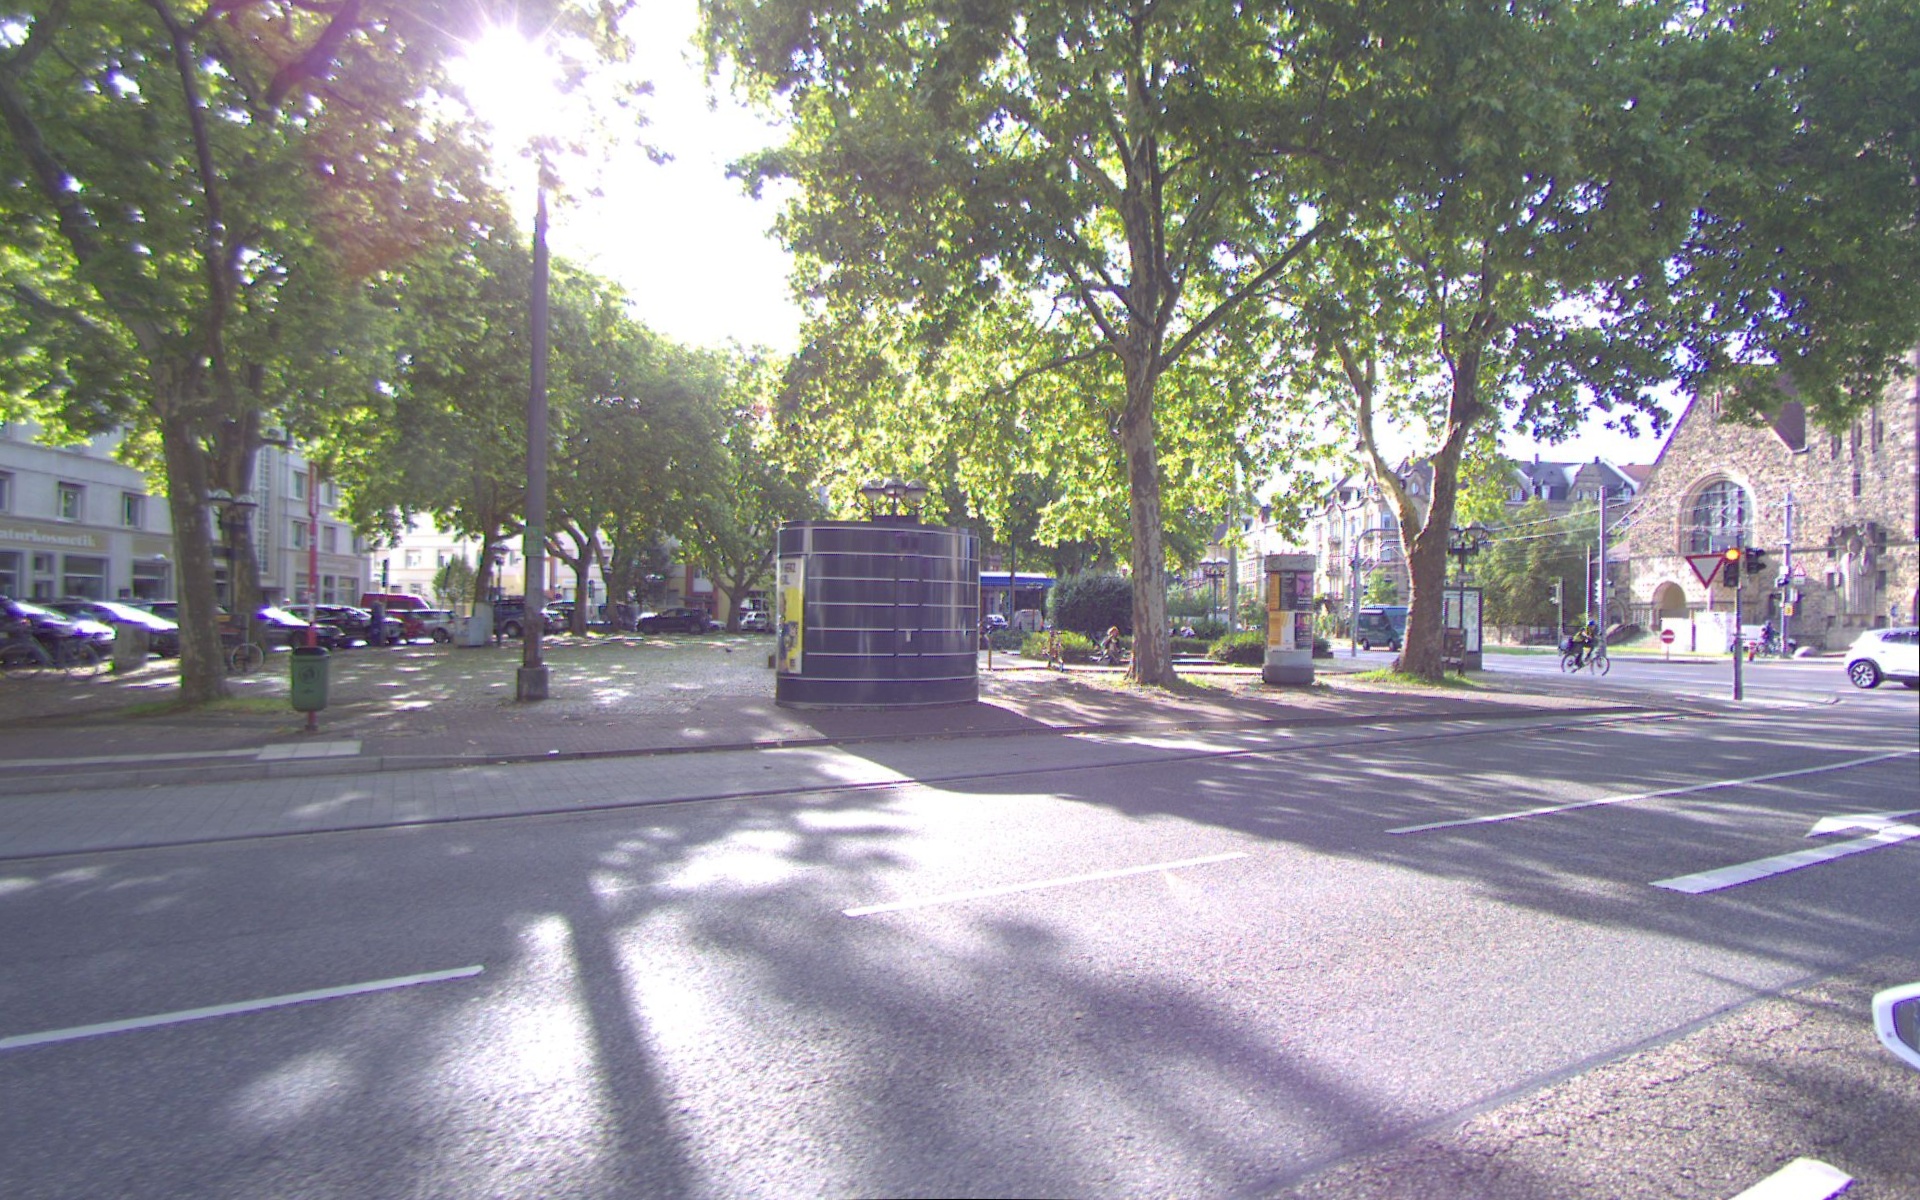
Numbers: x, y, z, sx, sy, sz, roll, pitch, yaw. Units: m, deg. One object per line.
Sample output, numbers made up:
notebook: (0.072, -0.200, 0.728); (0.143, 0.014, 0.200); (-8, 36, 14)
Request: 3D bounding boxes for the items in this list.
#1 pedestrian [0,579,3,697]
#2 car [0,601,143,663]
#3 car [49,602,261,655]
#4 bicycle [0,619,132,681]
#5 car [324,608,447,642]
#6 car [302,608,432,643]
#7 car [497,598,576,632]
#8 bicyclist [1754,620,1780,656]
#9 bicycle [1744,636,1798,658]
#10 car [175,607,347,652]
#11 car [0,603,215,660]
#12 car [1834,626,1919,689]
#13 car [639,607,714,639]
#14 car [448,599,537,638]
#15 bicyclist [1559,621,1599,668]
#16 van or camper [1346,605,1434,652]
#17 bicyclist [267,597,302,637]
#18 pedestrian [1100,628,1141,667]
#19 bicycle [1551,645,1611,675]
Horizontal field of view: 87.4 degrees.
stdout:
pedestrian: (-14.361, 0.556, 14.466); (0.698, 1.738, 0.498); (1, -1, -29)
car: (-22.317, 0.730, 23.724); (4.307, 1.396, 1.858); (1, -1, -8)
car: (-22.656, 0.799, 28.432); (4.307, 1.396, 1.858); (1, -1, -8)
bicycle: (-16.965, 0.926, 18.895); (2.055, 1.096, 0.702); (2, -1, -6)
car: (-25.342, 1.105, 44.472); (4.307, 1.396, 1.858); (1, -1, -8)
car: (-24.943, 1.060, 42.386); (4.307, 1.396, 1.858); (1, -1, -8)
car: (-25.682, 0.888, 61.001); (3.924, 1.868, 1.998); (2, 1, -4)
bicyclist: (38.096, 1.801, 47.416); (0.705, 1.684, 0.726); (1, 0, 12)
bicycle: (38.253, 2.214, 47.401); (1.886, 0.993, 0.638); (1, -1, 11)
car: (-23.312, 0.984, 33.657); (4.307, 1.396, 1.858); (1, -1, -8)
car: (-22.259, 0.807, 26.060); (4.307, 1.396, 1.858); (1, -1, -8)
car: (24.173, 1.429, 24.370); (1.864, 1.499, 4.254); (1, -1, -10)
car: (-16.803, 1.361, 59.678); (3.923, 1.795, 1.890); (1, -1, -4)
car: (-25.727, 1.004, 55.356); (3.924, 1.868, 1.998); (2, 1, -4)
bicyclist: (20.271, 1.453, 32.897); (0.703, 1.523, 0.882); (1, -1, -11)
van or camper: (23.537, 1.522, 55.271); (2.142, 2.467, 5.467); (1, -1, -5)
bicyclist: (-29.318, 0.736, 43.587); (0.799, 1.714, 1.112); (1, -1, -6)
pedestrian: (4.255, 1.246, 26.585); (1.019, 0.992, 0.761); (1, -1, 11)
bicycle: (20.276, 1.950, 32.825); (0.693, 0.887, 1.723); (1, -1, -11)
